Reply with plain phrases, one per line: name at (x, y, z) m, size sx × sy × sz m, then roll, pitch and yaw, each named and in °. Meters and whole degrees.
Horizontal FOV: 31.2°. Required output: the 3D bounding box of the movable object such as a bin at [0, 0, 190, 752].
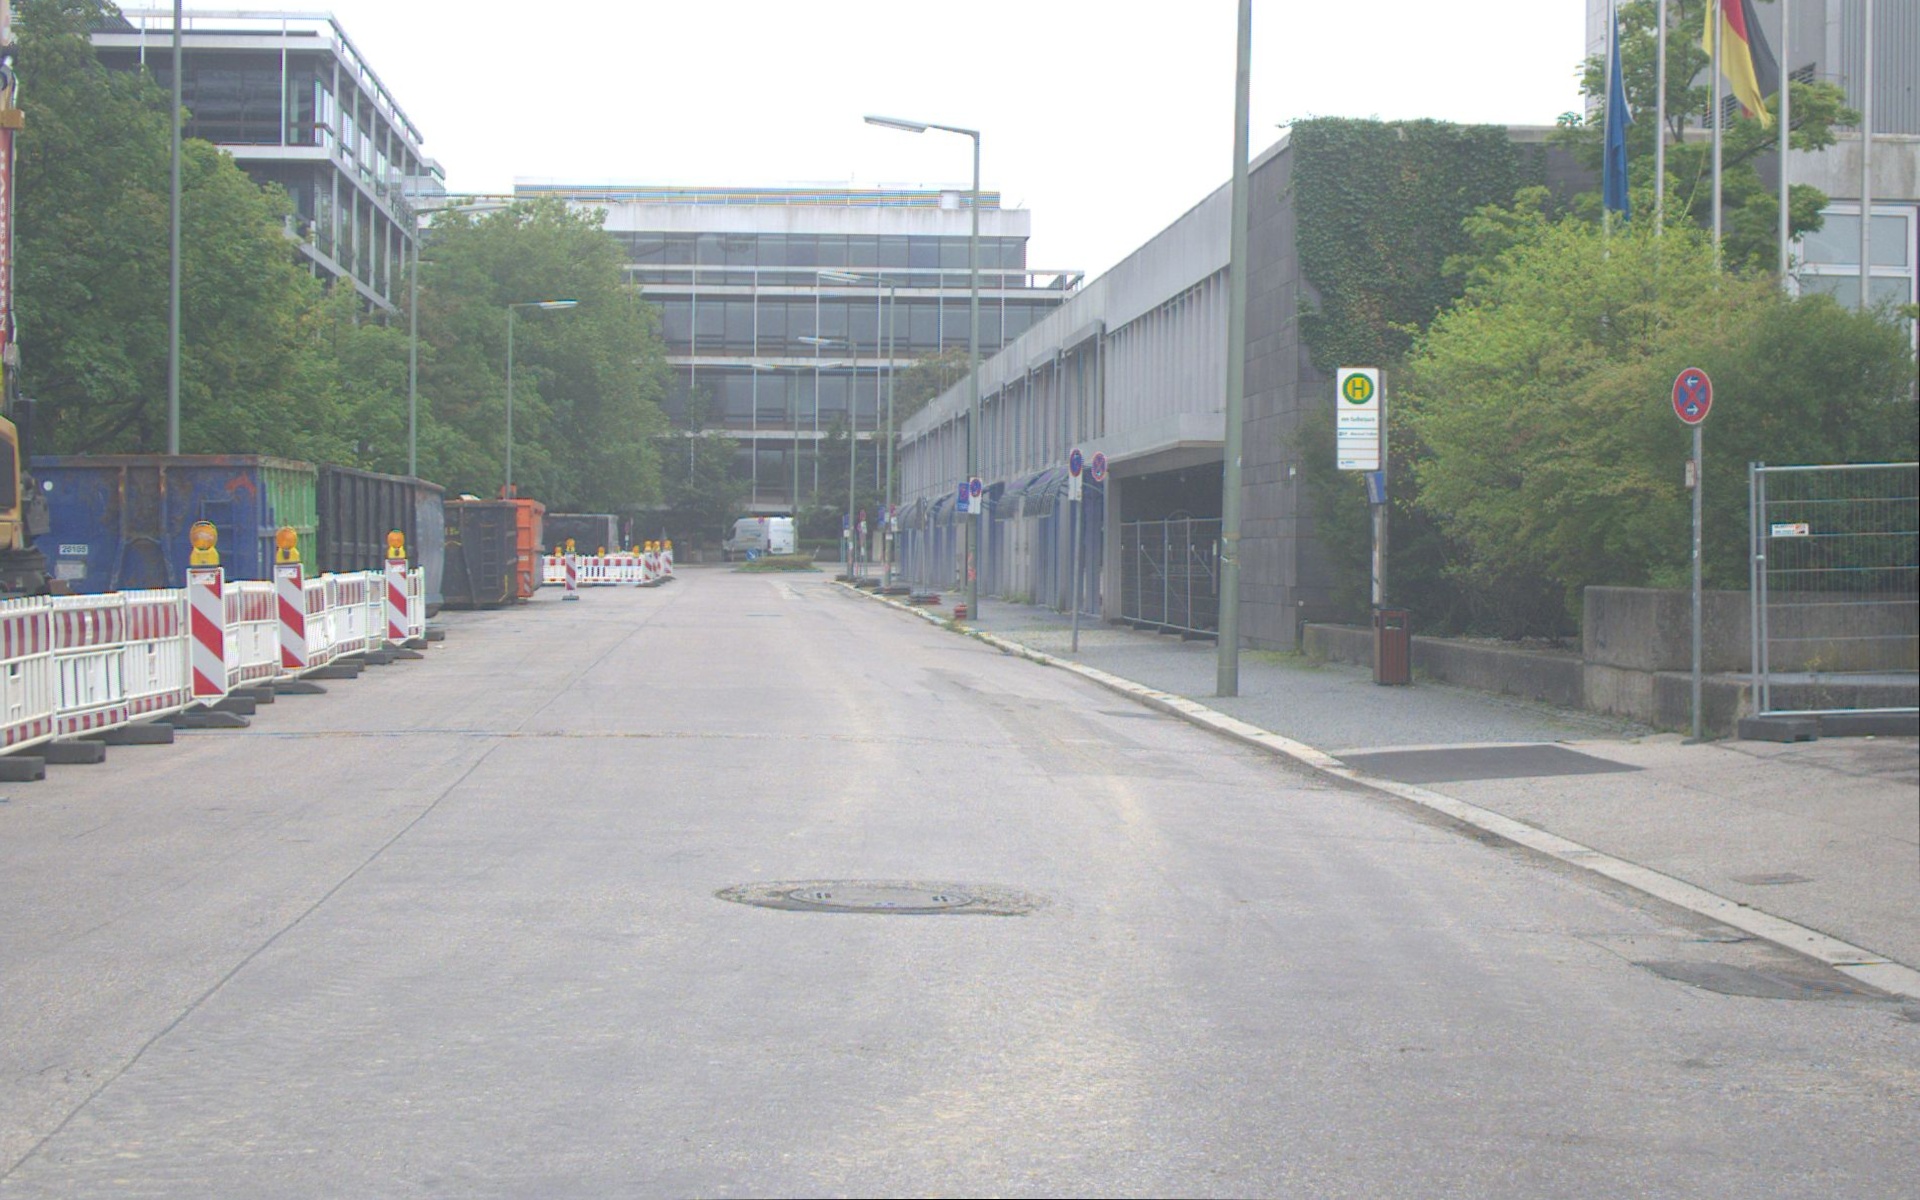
movable object such as a bin at (-8.276, -2.256, 26.364) m, size 2.904 × 6.542 × 11.786 m, roll 0°, pitch 1°, yaw -4°

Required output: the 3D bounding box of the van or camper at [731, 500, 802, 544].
van or camper at (-11.233, -4.543, 199.416) m, size 2.085 × 2.483 × 5.068 m, roll 0°, pitch 1°, yaw -29°
